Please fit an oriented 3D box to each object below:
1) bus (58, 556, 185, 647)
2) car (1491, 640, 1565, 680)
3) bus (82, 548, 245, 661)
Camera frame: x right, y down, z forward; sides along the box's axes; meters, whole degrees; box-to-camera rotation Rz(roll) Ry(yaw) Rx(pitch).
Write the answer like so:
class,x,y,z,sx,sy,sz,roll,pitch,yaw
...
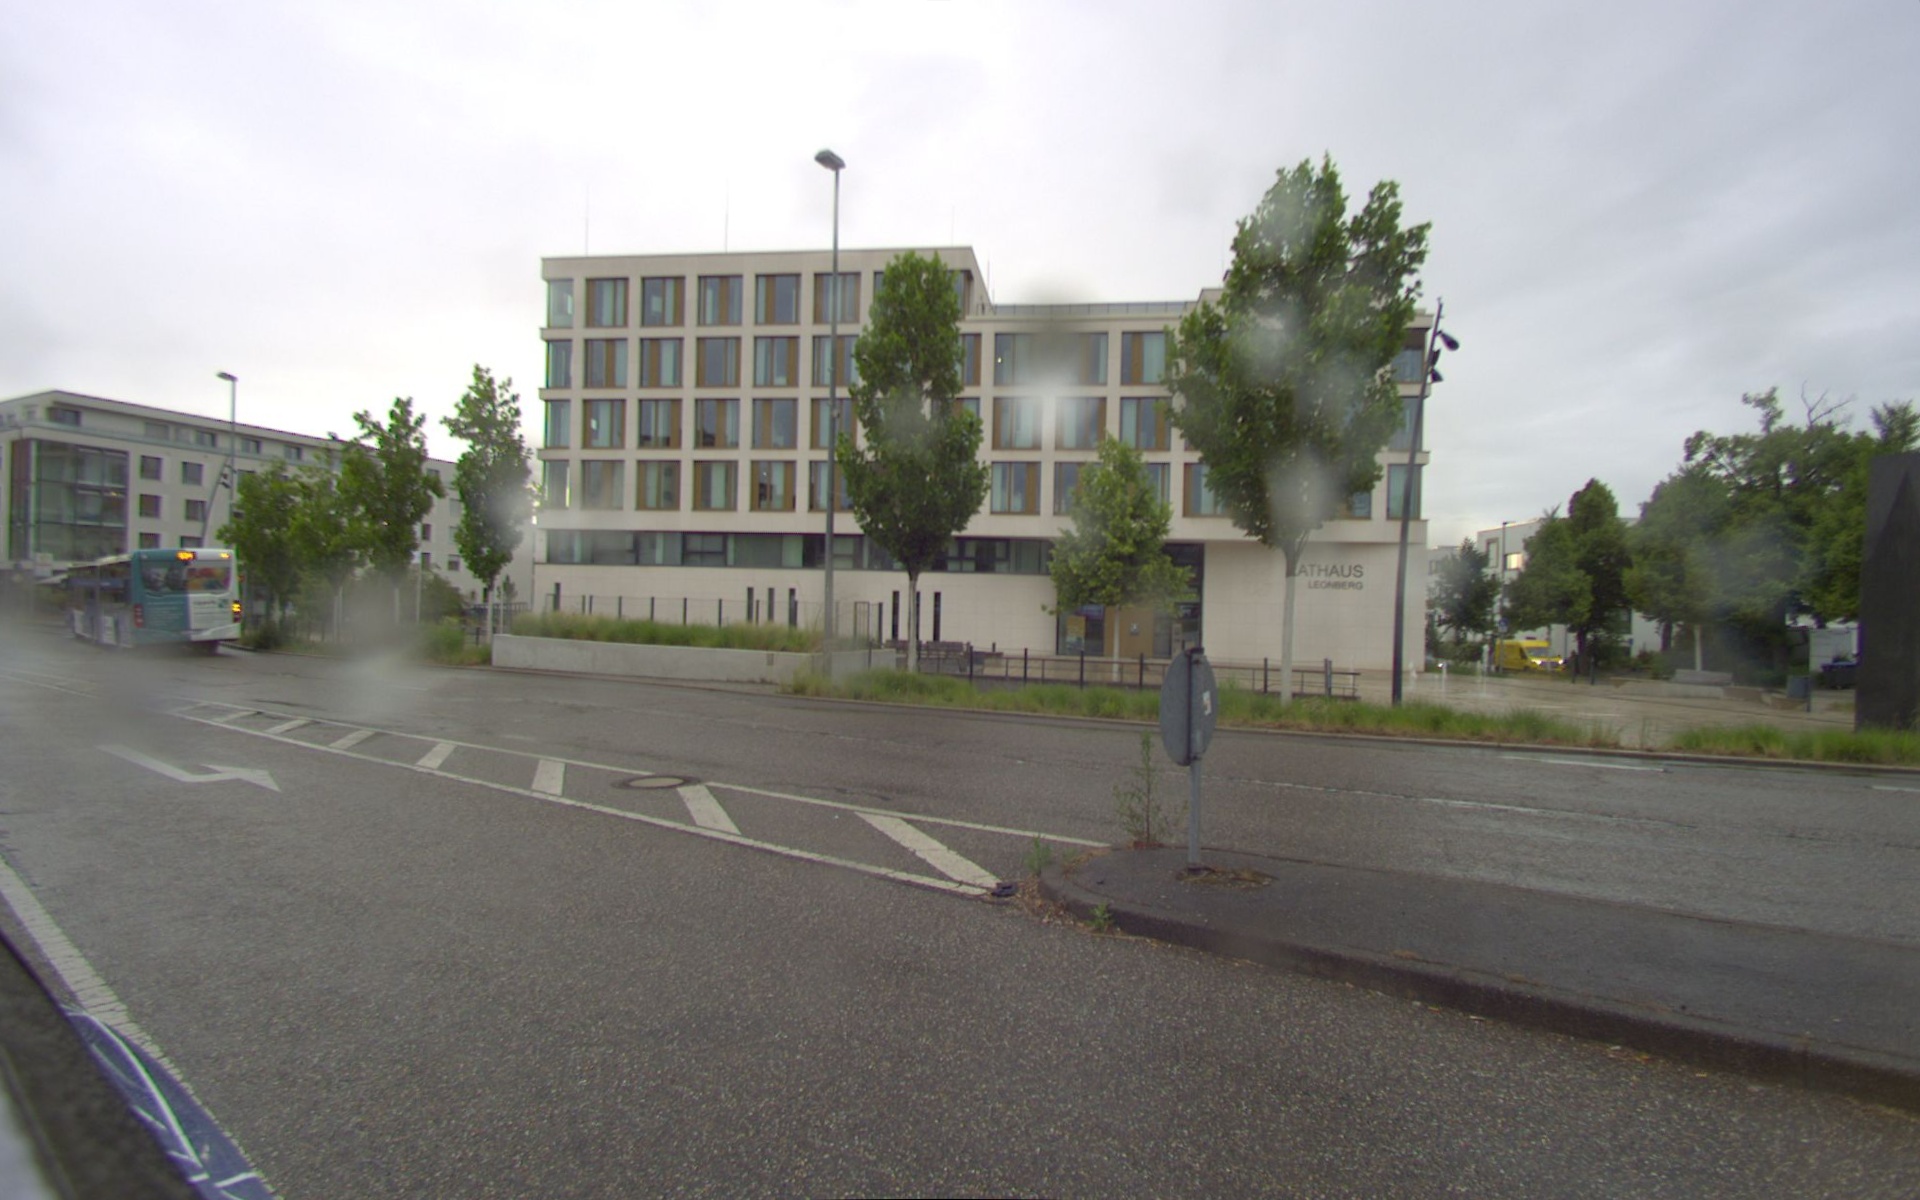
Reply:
class,x,y,z,sx,sy,sz,roll,pitch,yaw
bus,-32.152,0.122,38.639,8.887,3.138,2.760,-1,-2,44
car,36.687,3.871,65.576,1.976,2.428,5.904,1,-3,7
bus,-25.602,0.191,32.306,9.369,3.138,2.746,-1,-2,44
